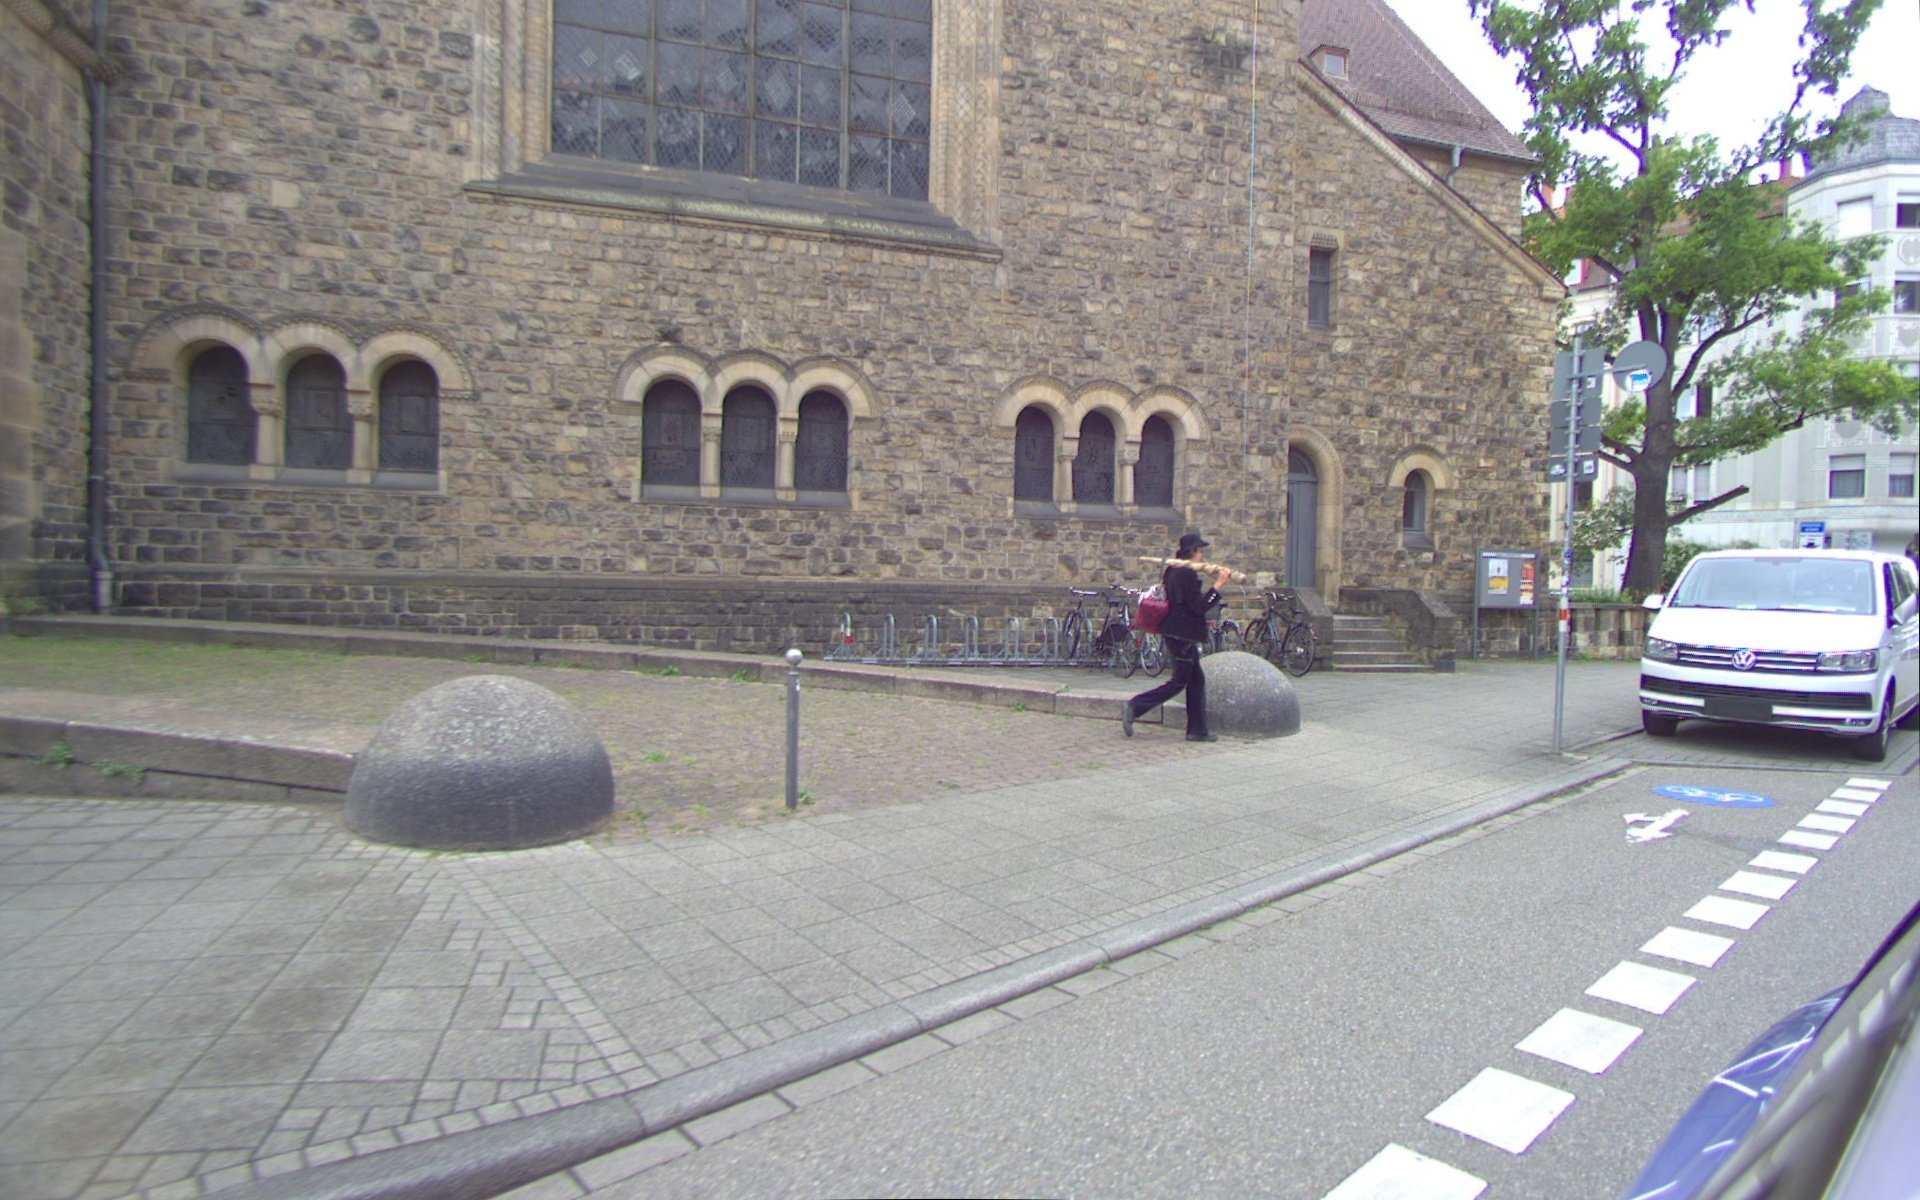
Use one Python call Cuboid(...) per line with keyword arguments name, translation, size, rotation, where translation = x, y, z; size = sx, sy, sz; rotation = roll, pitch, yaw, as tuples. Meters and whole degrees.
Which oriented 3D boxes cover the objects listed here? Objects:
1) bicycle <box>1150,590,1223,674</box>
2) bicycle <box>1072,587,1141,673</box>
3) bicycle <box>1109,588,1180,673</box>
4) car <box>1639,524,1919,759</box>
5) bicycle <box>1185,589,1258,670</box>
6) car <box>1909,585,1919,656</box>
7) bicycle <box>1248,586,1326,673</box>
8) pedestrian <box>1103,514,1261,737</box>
Cuboid(name="bicycle", translation=(3.135, 0.419, 14.091), size=(0.304, 1.073, 1.387), rotation=(1, 1, -18))
Cuboid(name="bicycle", translation=(1.947, 0.374, 13.558), size=(0.304, 1.073, 1.387), rotation=(1, 1, -18))
Cuboid(name="bicycle", translation=(2.497, 0.386, 13.787), size=(0.304, 1.073, 1.387), rotation=(1, 1, -18))
Cuboid(name="car", translation=(9.040, 0.319, 10.773), size=(5.075, 1.944, 1.808), rotation=(0, 1, -42))
Cuboid(name="bicycle", translation=(3.704, 0.400, 14.427), size=(0.304, 1.073, 1.346), rotation=(1, 1, -18))
Cuboid(name="car", translation=(23.665, 0.492, 23.599), size=(3.930, 1.585, 1.819), rotation=(0, 1, -41))
Cuboid(name="bicycle", translation=(4.632, 0.391, 14.401), size=(0.304, 1.161, 1.346), rotation=(1, 1, -18))
Cuboid(name="pedestrian", translation=(1.928, 0.212, 8.858), size=(0.998, 1.831, 0.818), rotation=(2, 0, -19))
